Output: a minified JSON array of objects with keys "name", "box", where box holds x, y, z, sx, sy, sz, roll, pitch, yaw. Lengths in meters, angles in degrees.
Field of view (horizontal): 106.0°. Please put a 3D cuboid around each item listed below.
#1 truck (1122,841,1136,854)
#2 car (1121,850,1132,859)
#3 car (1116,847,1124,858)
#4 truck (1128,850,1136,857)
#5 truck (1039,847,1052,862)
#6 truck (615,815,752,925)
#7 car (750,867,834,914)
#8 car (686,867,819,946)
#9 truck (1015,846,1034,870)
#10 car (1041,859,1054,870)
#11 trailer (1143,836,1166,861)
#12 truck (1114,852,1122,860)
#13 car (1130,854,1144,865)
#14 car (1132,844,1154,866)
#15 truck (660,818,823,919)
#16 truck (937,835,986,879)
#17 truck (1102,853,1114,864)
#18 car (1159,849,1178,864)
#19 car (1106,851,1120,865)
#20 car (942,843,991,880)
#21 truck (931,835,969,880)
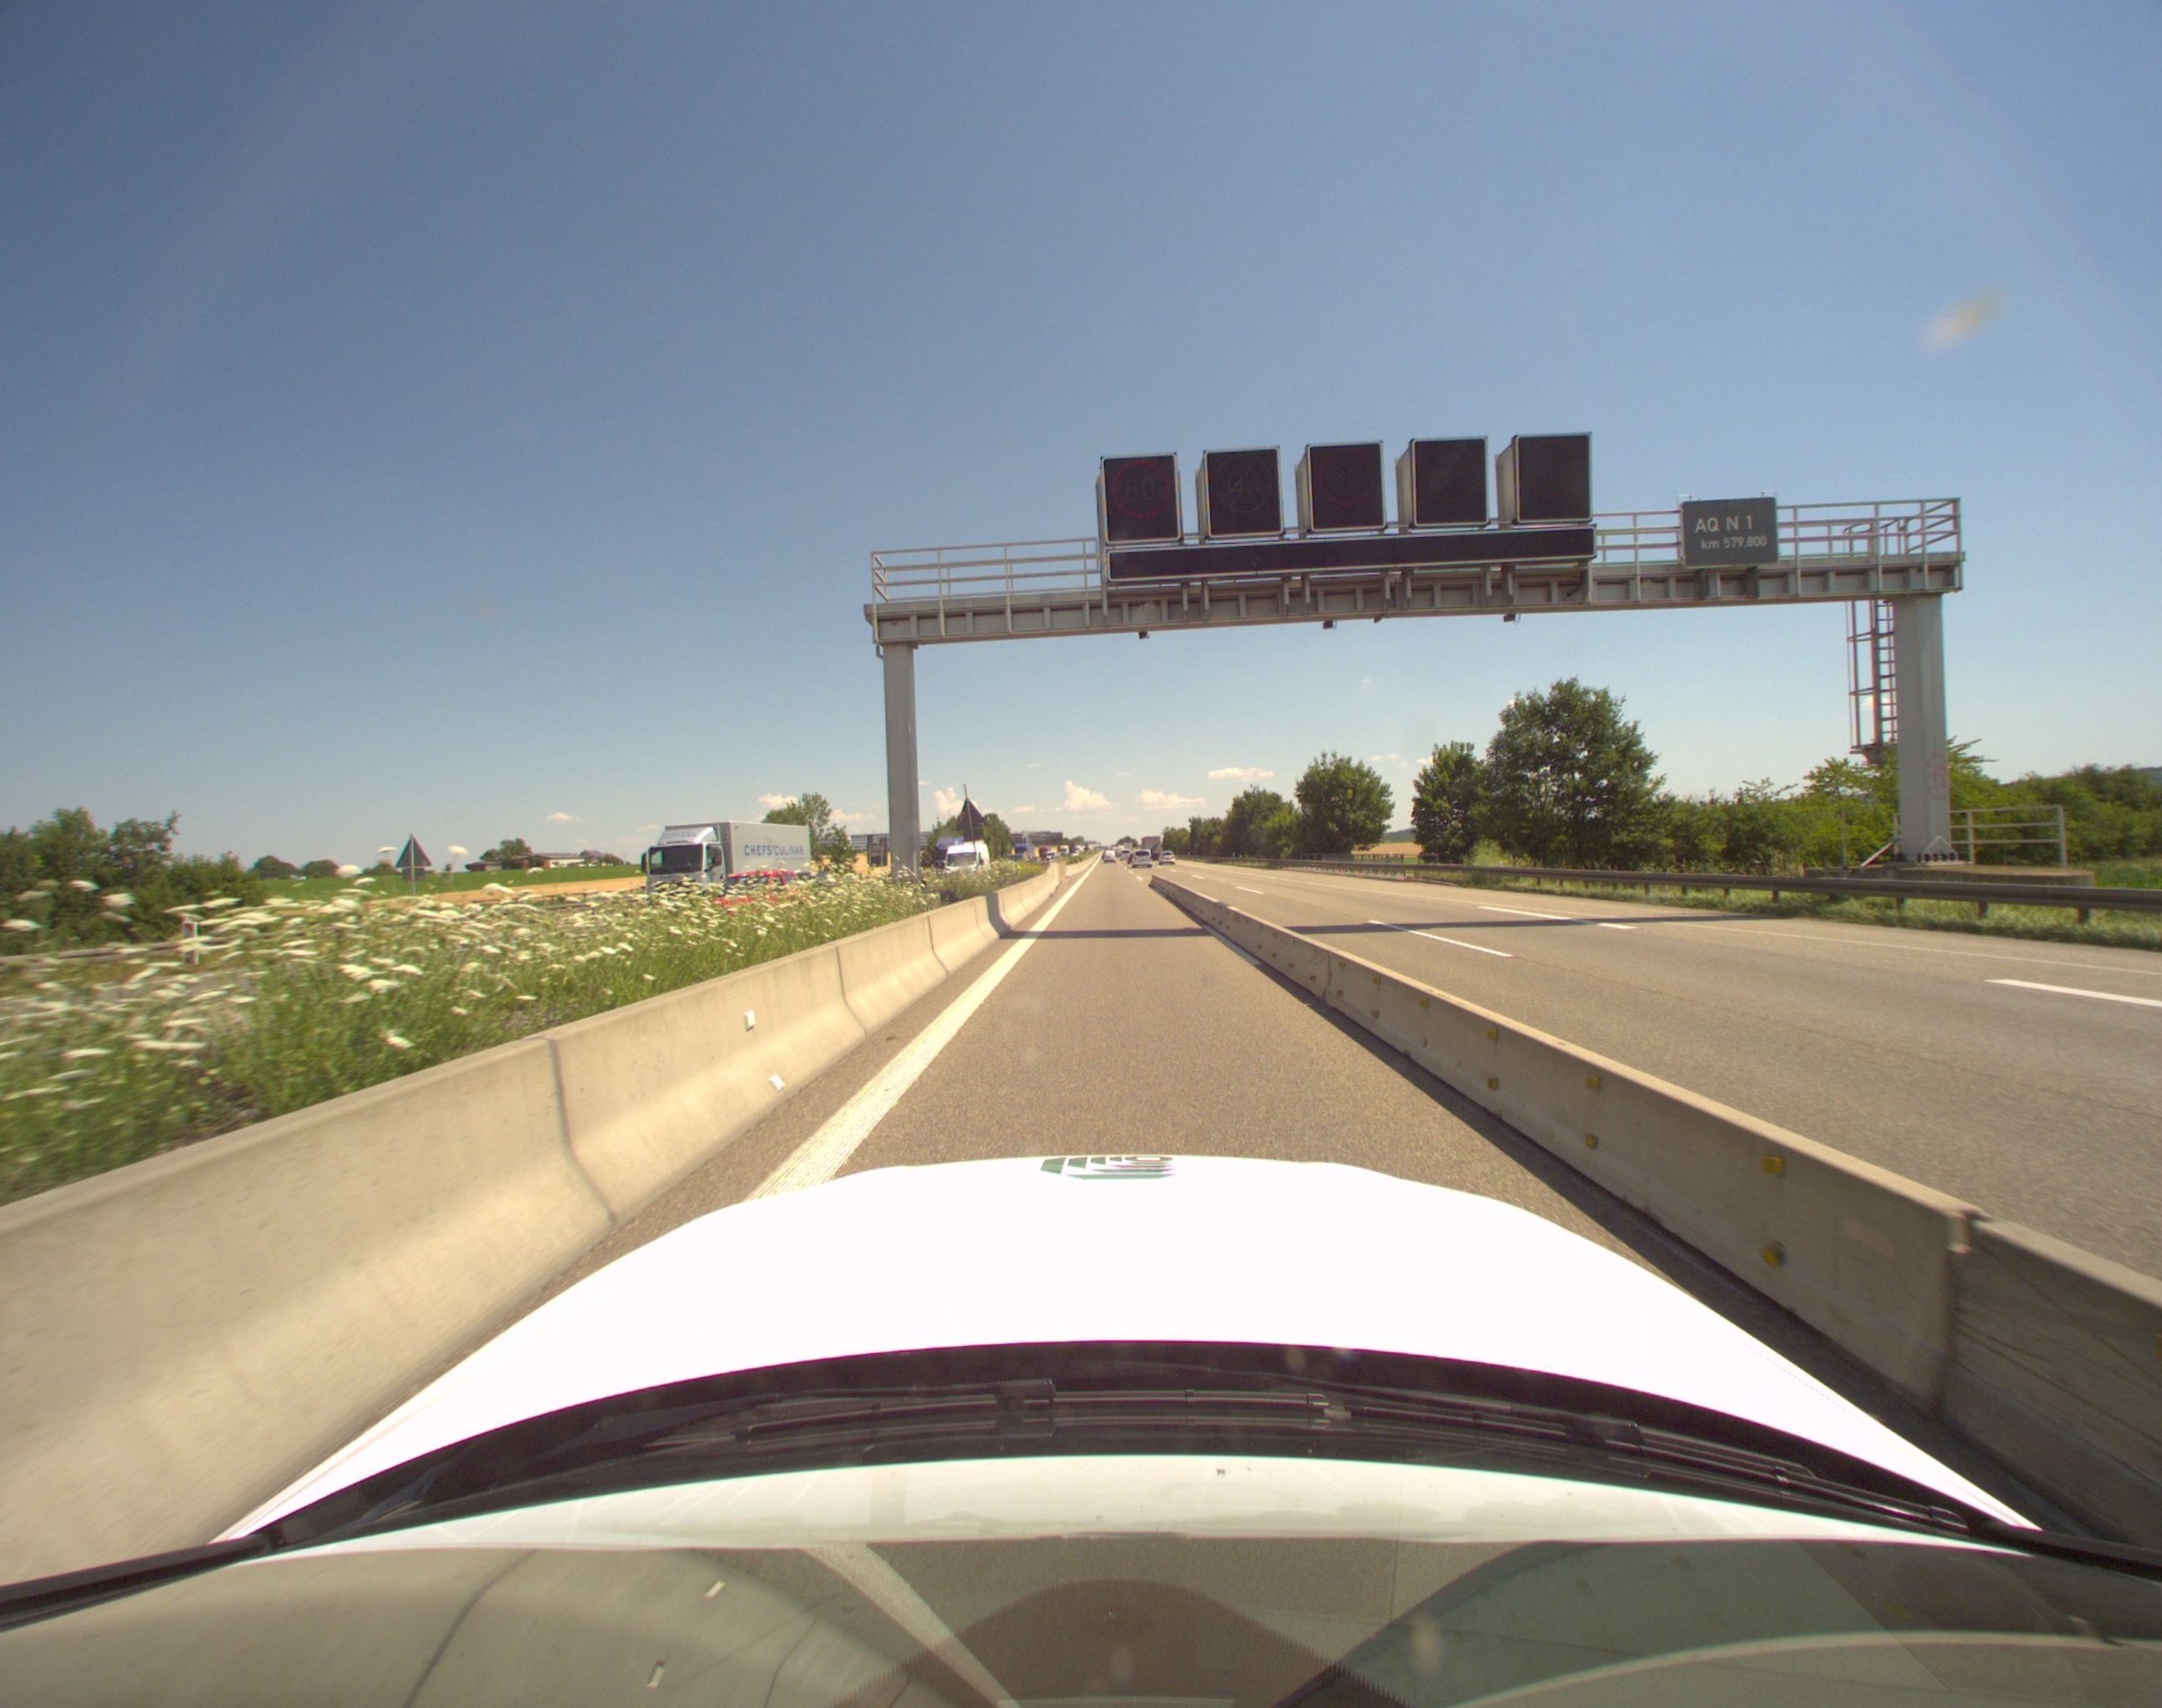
[{"name":"truck","box":[15.412,-2.165,262.615,3.802,3.904,9.583,-2,0,1]},{"name":"car","box":[8.261,0.119,148.385,1.767,1.447,4.001,-2,-1,2]},{"name":"car","box":[9.342,-0.332,197.078,1.767,2.392,4.001,-2,-1,2]},{"name":"truck","box":[14.271,-0.119,229.690,1.986,2.013,4.001,-2,0,1]},{"name":"truck","box":[-9.163,0.182,212.775,2.846,3.855,4.001,-3,0,1]},{"name":"truck","box":[-14.398,0.559,29.803,2.687,3.587,4.003,-4,0,3]},{"name":"car","box":[-10.495,1.288,29.888,1.553,1.442,3.837,-4,0,1]},{"name":"car","box":[-7.713,1.169,19.486,1.553,1.570,3.705,-2,0,1]},{"name":"truck","box":[-10.574,0.776,153.058,2.854,4.350,5.588,-3,0,2]},{"name":"car","box":[-5.120,1.661,126.095,1.678,1.566,4.563,-3,0,1]},{"name":"trailer","box":[12.383,-0.889,138.741,3.265,3.967,9.115,-2,-1,2]},{"name":"truck","box":[10.314,0.551,226.355,1.986,2.013,4.001,-2,0,1]},{"name":"car","box":[7.703,0.754,111.855,1.767,1.447,4.001,-2,-1,2]},{"name":"car","box":[6.469,0.125,85.399,1.986,2.120,4.001,-2,-1,2]},{"name":"truck","box":[-14.144,0.535,34.940,2.688,3.620,8.793,-4,0,3]},{"name":"truck","box":[-12.950,0.358,89.542,2.583,4.238,14.127,-5,0,2]},{"name":"truck","box":[5.378,0.909,163.970,2.204,2.013,4.972,-2,0,1]},{"name":"car","box":[10.779,0.339,100.992,1.986,1.794,4.001,-2,-1,2]},{"name":"car","box":[4.831,0.574,123.981,1.986,2.014,4.001,-2,-1,2]},{"name":"car","box":[-6.611,0.431,47.334,1.986,1.946,4.796,-3,0,1]},{"name":"truck","box":[-13.158,0.332,82.157,2.583,4.238,4.855,-5,0,1]}]
